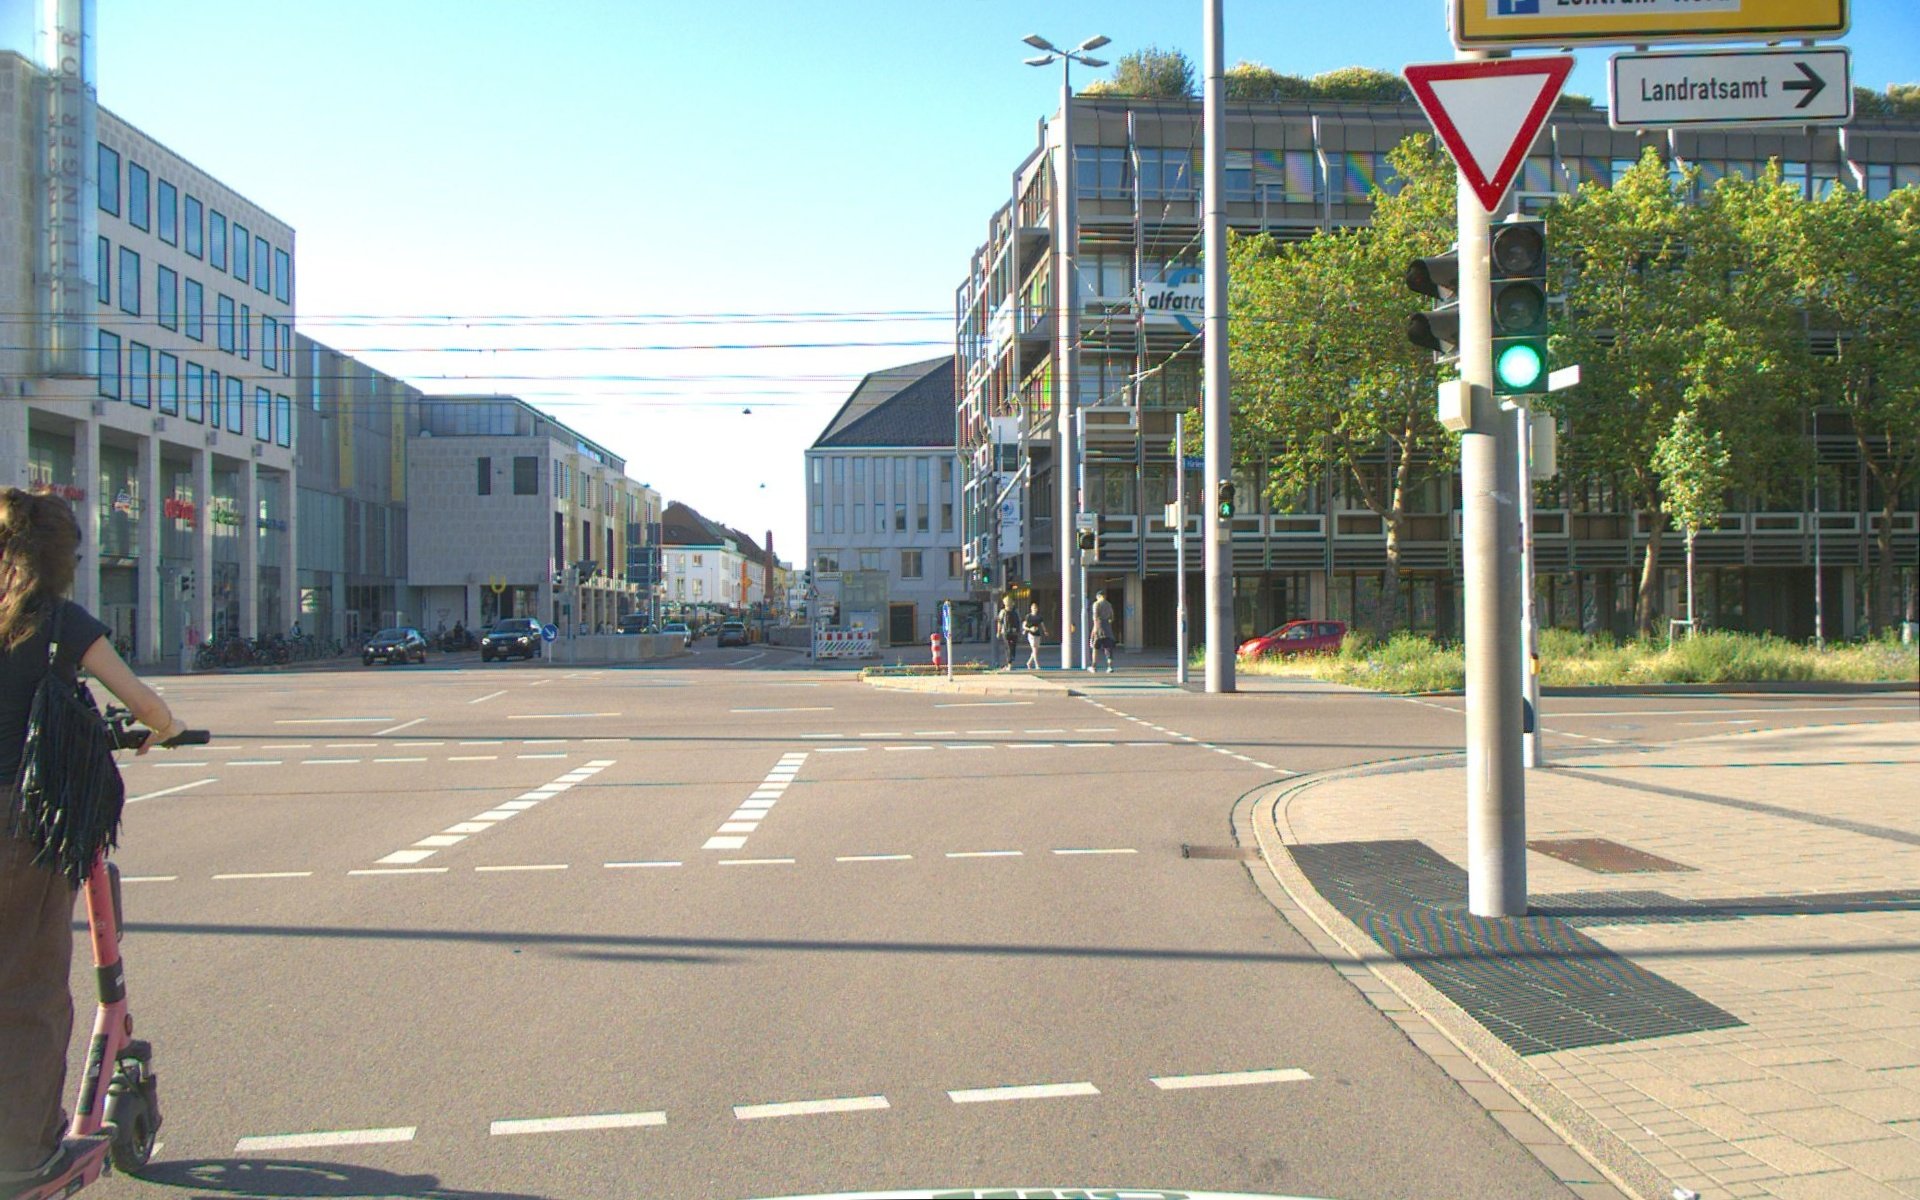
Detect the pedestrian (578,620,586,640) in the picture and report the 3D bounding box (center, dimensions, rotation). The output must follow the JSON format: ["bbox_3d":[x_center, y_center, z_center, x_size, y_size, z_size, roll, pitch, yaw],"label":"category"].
[{"bbox_3d":[-27.095,2.133,118.480,0.479,1.380,0.563,1,-1,-6],"label":"pedestrian"}]

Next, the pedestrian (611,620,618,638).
[{"bbox_3d":[-26.934,2.290,128.901,0.479,1.380,0.563,1,-1,-6],"label":"pedestrian"}]

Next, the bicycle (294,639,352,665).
[{"bbox_3d":[-29.214,2.395,75.882,2.417,1.130,0.684,-1,-1,1],"label":"bicycle"}]

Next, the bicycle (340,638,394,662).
[{"bbox_3d":[-29.185,2.470,81.377,2.417,1.130,0.660,-1,-1,1],"label":"bicycle"}]

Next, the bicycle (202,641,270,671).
[{"bbox_3d":[-28.550,2.204,65.237,2.353,1.132,0.658,-1,-1,-1],"label":"bicycle"}]

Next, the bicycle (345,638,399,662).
[{"bbox_3d":[-29.206,2.488,82.150,2.417,1.130,0.660,-1,-1,1],"label":"bicycle"}]

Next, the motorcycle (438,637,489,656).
[{"bbox_3d":[-28.360,2.671,94.468,2.617,1.013,0.915,1,-1,-7],"label":"motorcycle"}]

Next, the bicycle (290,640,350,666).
[{"bbox_3d":[-28.678,2.371,74.106,2.417,1.130,0.684,-1,-1,1],"label":"bicycle"}]

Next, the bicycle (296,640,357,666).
[{"bbox_3d":[-28.693,2.382,74.895,2.417,1.130,0.835,-1,-1,1],"label":"bicycle"}]

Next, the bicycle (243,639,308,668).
[{"bbox_3d":[-28.451,2.218,68.757,2.417,1.130,0.684,-1,-1,1],"label":"bicycle"}]

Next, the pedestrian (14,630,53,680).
[{"bbox_3d":[-30.440,1.793,54.347,0.827,1.599,0.939,-1,-1,45],"label":"pedestrian"}]

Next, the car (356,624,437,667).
[{"bbox_3d":[-22.674,1.807,66.725,1.898,1.608,4.292,-1,0,-2],"label":"car"}]

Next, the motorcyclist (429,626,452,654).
[{"bbox_3d":[-28.603,2.210,91.006,1.016,1.497,0.915,1,-1,-7],"label":"motorcyclist"}]

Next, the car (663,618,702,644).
[{"bbox_3d":[-19.227,2.174,114.818,2.131,1.722,5.610,0,-1,-4],"label":"car"}]

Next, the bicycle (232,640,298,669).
[{"bbox_3d":[-28.541,2.227,67.948,2.416,1.130,0.684,-1,-1,2],"label":"bicycle"}]

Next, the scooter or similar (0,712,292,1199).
[{"bbox_3d":[-2.132,0.903,3.813,0.629,1.196,1.482,1,-1,-3],"label":"scooter or similar"}]

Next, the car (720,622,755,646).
[{"bbox_3d":[-14.122,2.147,105.076,1.898,1.475,4.258,0,-1,-4],"label":"car"}]

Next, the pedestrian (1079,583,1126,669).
[{"bbox_3d":[2.989,0.540,34.718,0.839,1.774,0.738,-1,0,-8],"label":"pedestrian"}]

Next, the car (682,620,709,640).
[{"bbox_3d":[-26.861,3.056,168.115,2.131,1.906,5.610,0,-1,-4],"label":"car"}]

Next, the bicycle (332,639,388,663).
[{"bbox_3d":[-29.229,2.469,80.569,2.417,1.130,0.835,-1,-1,1],"label":"bicycle"}]

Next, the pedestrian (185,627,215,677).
[{"bbox_3d":[-26.947,1.841,58.656,0.736,1.770,0.756,0,-1,-3],"label":"pedestrian"}]

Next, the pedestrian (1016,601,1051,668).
[{"bbox_3d":[2.138,0.998,48.169,0.991,1.944,1.051,0,-1,0],"label":"pedestrian"}]

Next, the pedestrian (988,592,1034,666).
[{"bbox_3d":[1.097,0.615,35.902,0.878,1.576,0.922,-1,1,-6],"label":"pedestrian"}]

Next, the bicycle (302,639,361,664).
[{"bbox_3d":[-29.311,2.412,77.132,2.417,1.130,0.835,-1,-1,1],"label":"bicycle"}]

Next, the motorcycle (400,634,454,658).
[{"bbox_3d":[-28.566,2.468,88.657,2.617,1.239,0.915,1,-1,-7],"label":"motorcycle"}]

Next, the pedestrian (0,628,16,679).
[{"bbox_3d":[-32.279,1.785,55.360,1.000,1.680,0.933,1,-1,-44],"label":"pedestrian"}]

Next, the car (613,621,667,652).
[{"bbox_3d":[-18.445,2.090,95.552,2.130,1.722,5.485,0,-1,-1],"label":"car"}]

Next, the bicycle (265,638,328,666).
[{"bbox_3d":[-28.308,2.214,70.548,2.417,1.130,0.684,-1,-1,1],"label":"bicycle"}]

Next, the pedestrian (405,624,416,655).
[{"bbox_3d":[-36.492,2.614,109.915,0.606,2.049,0.476,1,-1,-15],"label":"pedestrian"}]

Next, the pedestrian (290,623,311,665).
[{"bbox_3d":[-32.298,2.134,80.994,0.933,2.017,1.000,0,-1,-24],"label":"pedestrian"}]

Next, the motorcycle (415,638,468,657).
[{"bbox_3d":[-28.529,2.617,91.020,2.617,1.013,0.915,1,-1,-7],"label":"motorcycle"}]

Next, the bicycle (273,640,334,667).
[{"bbox_3d":[-28.599,2.349,72.105,2.417,1.130,0.593,-1,-1,1],"label":"bicycle"}]

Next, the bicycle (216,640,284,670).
[{"bbox_3d":[-28.579,2.207,66.583,2.417,1.130,0.684,-1,-1,0],"label":"bicycle"}]

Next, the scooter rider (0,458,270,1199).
[{"bbox_3d":[-2.135,0.506,3.826,0.629,1.571,1.116,1,-1,-3],"label":"scooter rider"}]

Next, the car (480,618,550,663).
[{"bbox_3d":[-17.547,1.576,65.327,1.899,1.707,4.290,-1,-1,-5],"label":"car"}]

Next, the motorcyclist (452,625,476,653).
[{"bbox_3d":[-28.330,2.238,94.491,1.115,1.602,0.915,1,-1,-7],"label":"motorcyclist"}]

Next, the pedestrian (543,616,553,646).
[{"bbox_3d":[-28.201,2.117,113.143,0.606,2.049,0.476,1,-1,-15],"label":"pedestrian"}]

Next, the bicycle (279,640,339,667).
[{"bbox_3d":[-28.604,2.357,72.690,2.417,1.130,0.537,-1,-1,1],"label":"bicycle"}]

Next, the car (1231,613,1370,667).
[{"bbox_3d":[10.410,1.251,50.739,3.790,1.512,1.845,-1,-4,-3],"label":"car"}]
